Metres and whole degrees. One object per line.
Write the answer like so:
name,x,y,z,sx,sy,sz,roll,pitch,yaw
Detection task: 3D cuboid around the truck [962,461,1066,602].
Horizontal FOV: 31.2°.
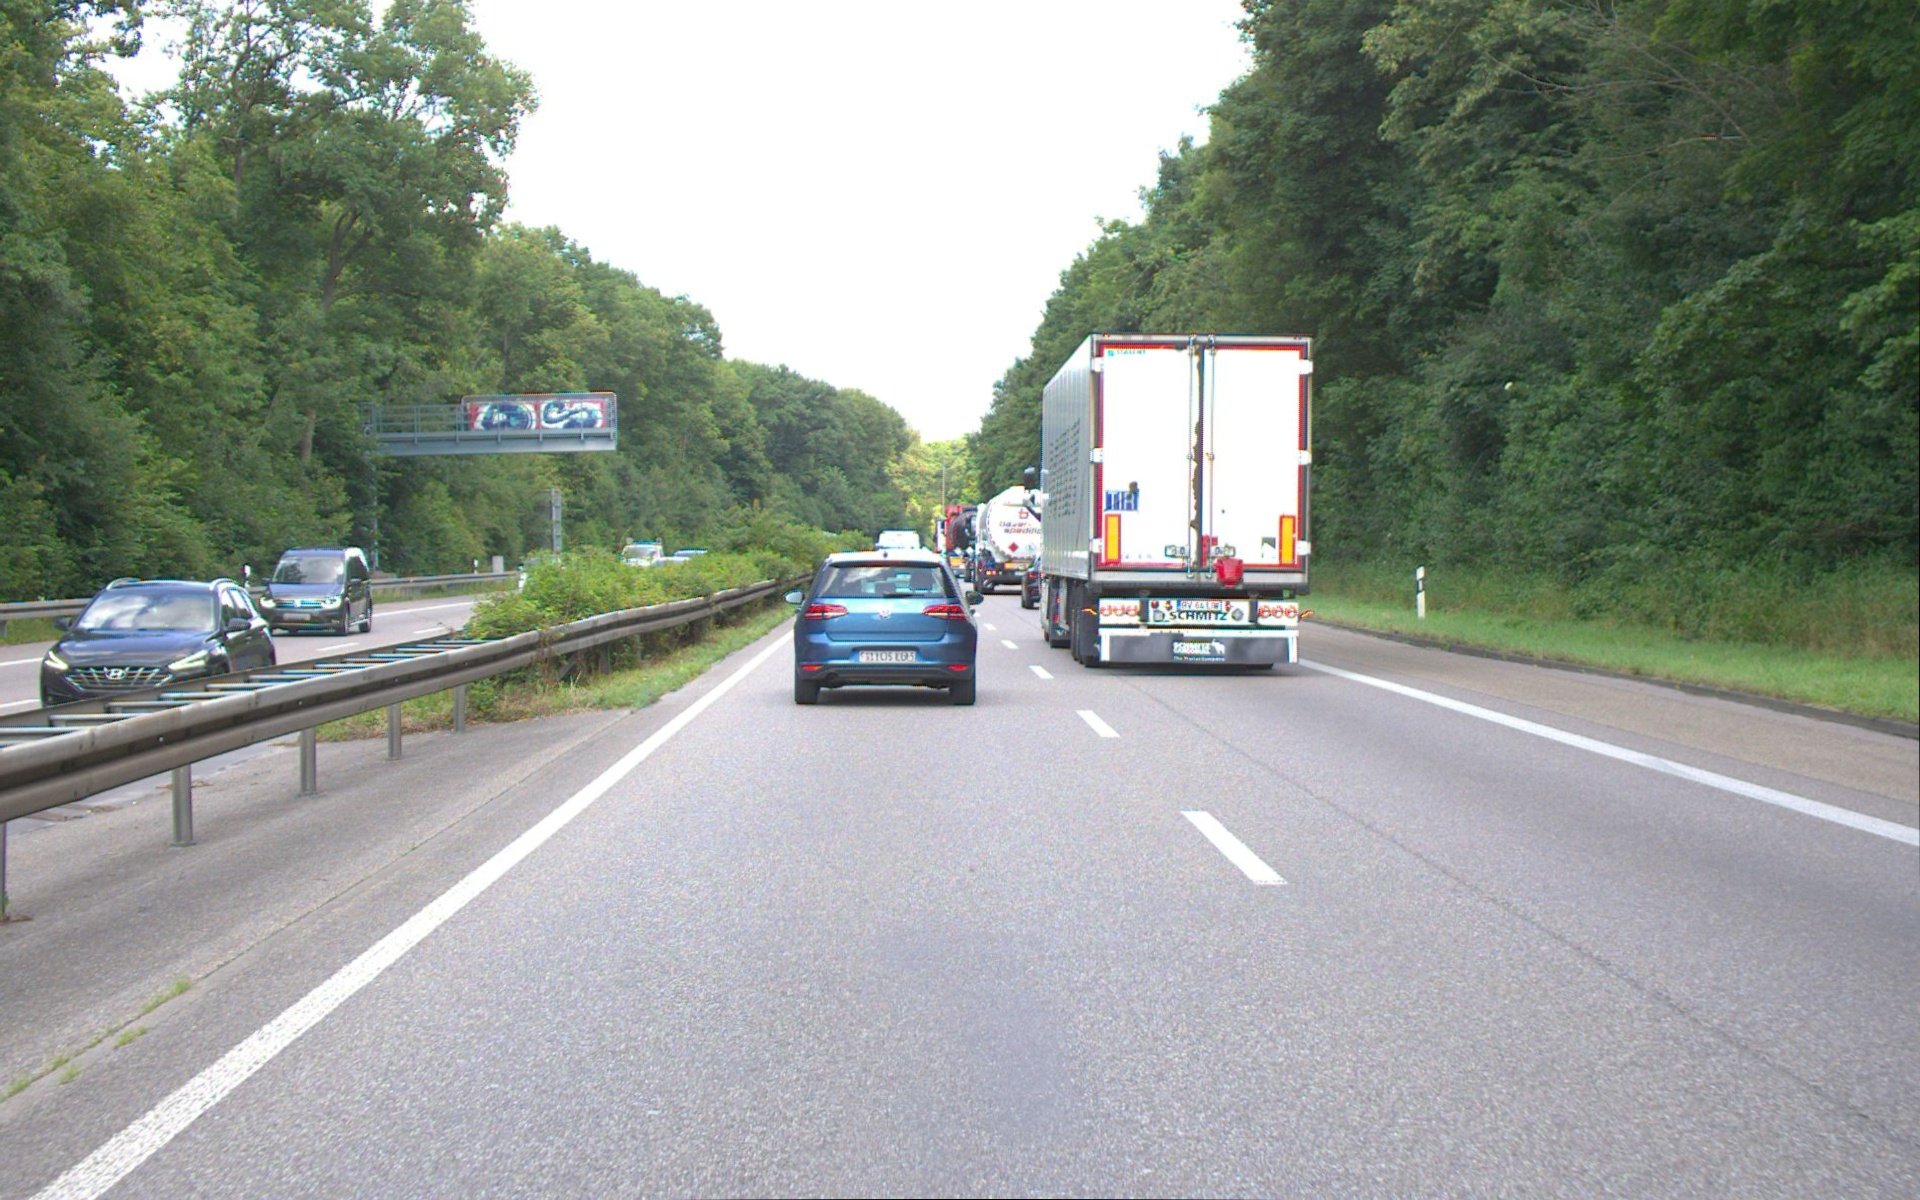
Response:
truck,1.731,-2.198,114.171,3.232,4.371,12.970,0,0,0

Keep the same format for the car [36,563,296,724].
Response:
car,-8.193,0.405,35.826,1.781,1.514,4.267,-1,1,-1

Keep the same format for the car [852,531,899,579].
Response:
car,-3.605,-1.947,147.098,1.993,2.007,4.000,-1,1,-1

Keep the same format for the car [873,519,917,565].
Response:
car,-3.222,-2.877,170.024,1.993,2.247,4.443,-1,1,-3

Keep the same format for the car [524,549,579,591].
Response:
car,-14.255,-1.065,120.040,1.537,1.391,3.511,-1,1,-1

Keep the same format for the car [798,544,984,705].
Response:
car,-0.685,0.195,33.827,1.705,1.465,4.000,1,1,-1

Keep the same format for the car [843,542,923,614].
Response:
car,-1.633,-0.499,73.988,1.665,1.495,4.152,0,1,-1

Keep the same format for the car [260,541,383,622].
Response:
car,-13.139,-0.408,70.974,1.760,1.587,4.634,-1,1,-1

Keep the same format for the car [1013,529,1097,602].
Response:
car,2.317,-0.861,84.700,1.888,1.723,4.000,-1,1,-1

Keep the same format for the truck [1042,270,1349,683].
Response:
truck,2.843,-1.539,45.064,3.242,4.700,11.007,-1,1,0

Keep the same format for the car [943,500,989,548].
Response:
car,0.280,-3.767,170.026,1.993,2.319,4.443,-1,1,-3
